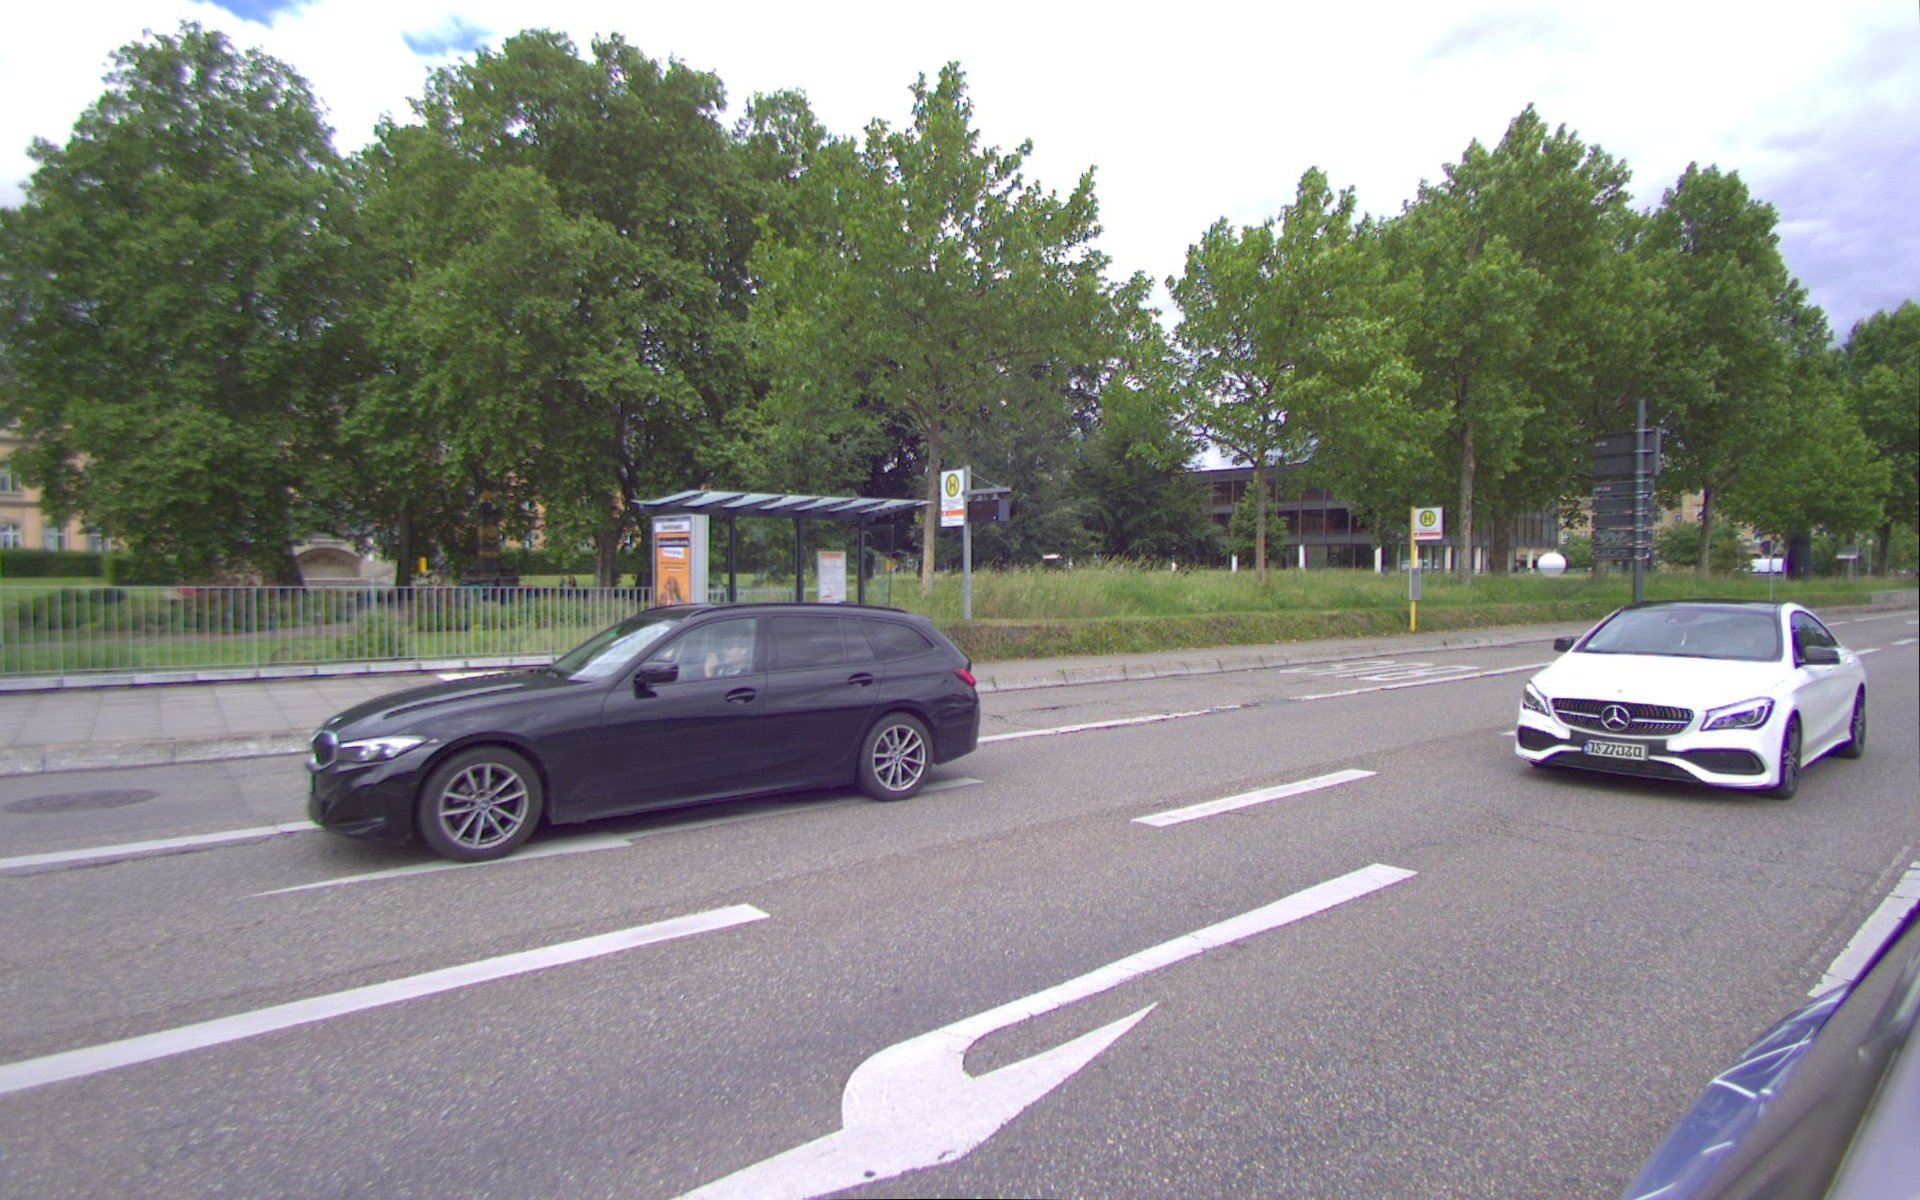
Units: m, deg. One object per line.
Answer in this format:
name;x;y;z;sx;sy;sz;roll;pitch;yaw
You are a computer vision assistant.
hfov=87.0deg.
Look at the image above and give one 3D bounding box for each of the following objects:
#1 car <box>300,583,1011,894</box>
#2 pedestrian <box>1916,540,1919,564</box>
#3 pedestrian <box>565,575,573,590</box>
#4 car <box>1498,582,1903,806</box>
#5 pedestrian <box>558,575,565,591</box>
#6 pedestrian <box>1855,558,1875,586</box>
car;-1.951;0.674;7.215;4.446;1.478;1.936;-2;1;-39
pedestrian;84.405;-4.205;88.587;1.160;2.039;0.891;-2;0;-40
pedestrian;-34.911;-1.541;90.324;0.401;1.347;0.465;-2;0;21
car;6.568;0.582;8.780;4.446;1.437;1.798;-1;2;-39
pedestrian;-35.681;-1.520;90.616;0.401;1.347;0.465;-2;0;21
pedestrian;68.941;-2.140;77.090;1.160;2.039;0.891;-2;0;-40
